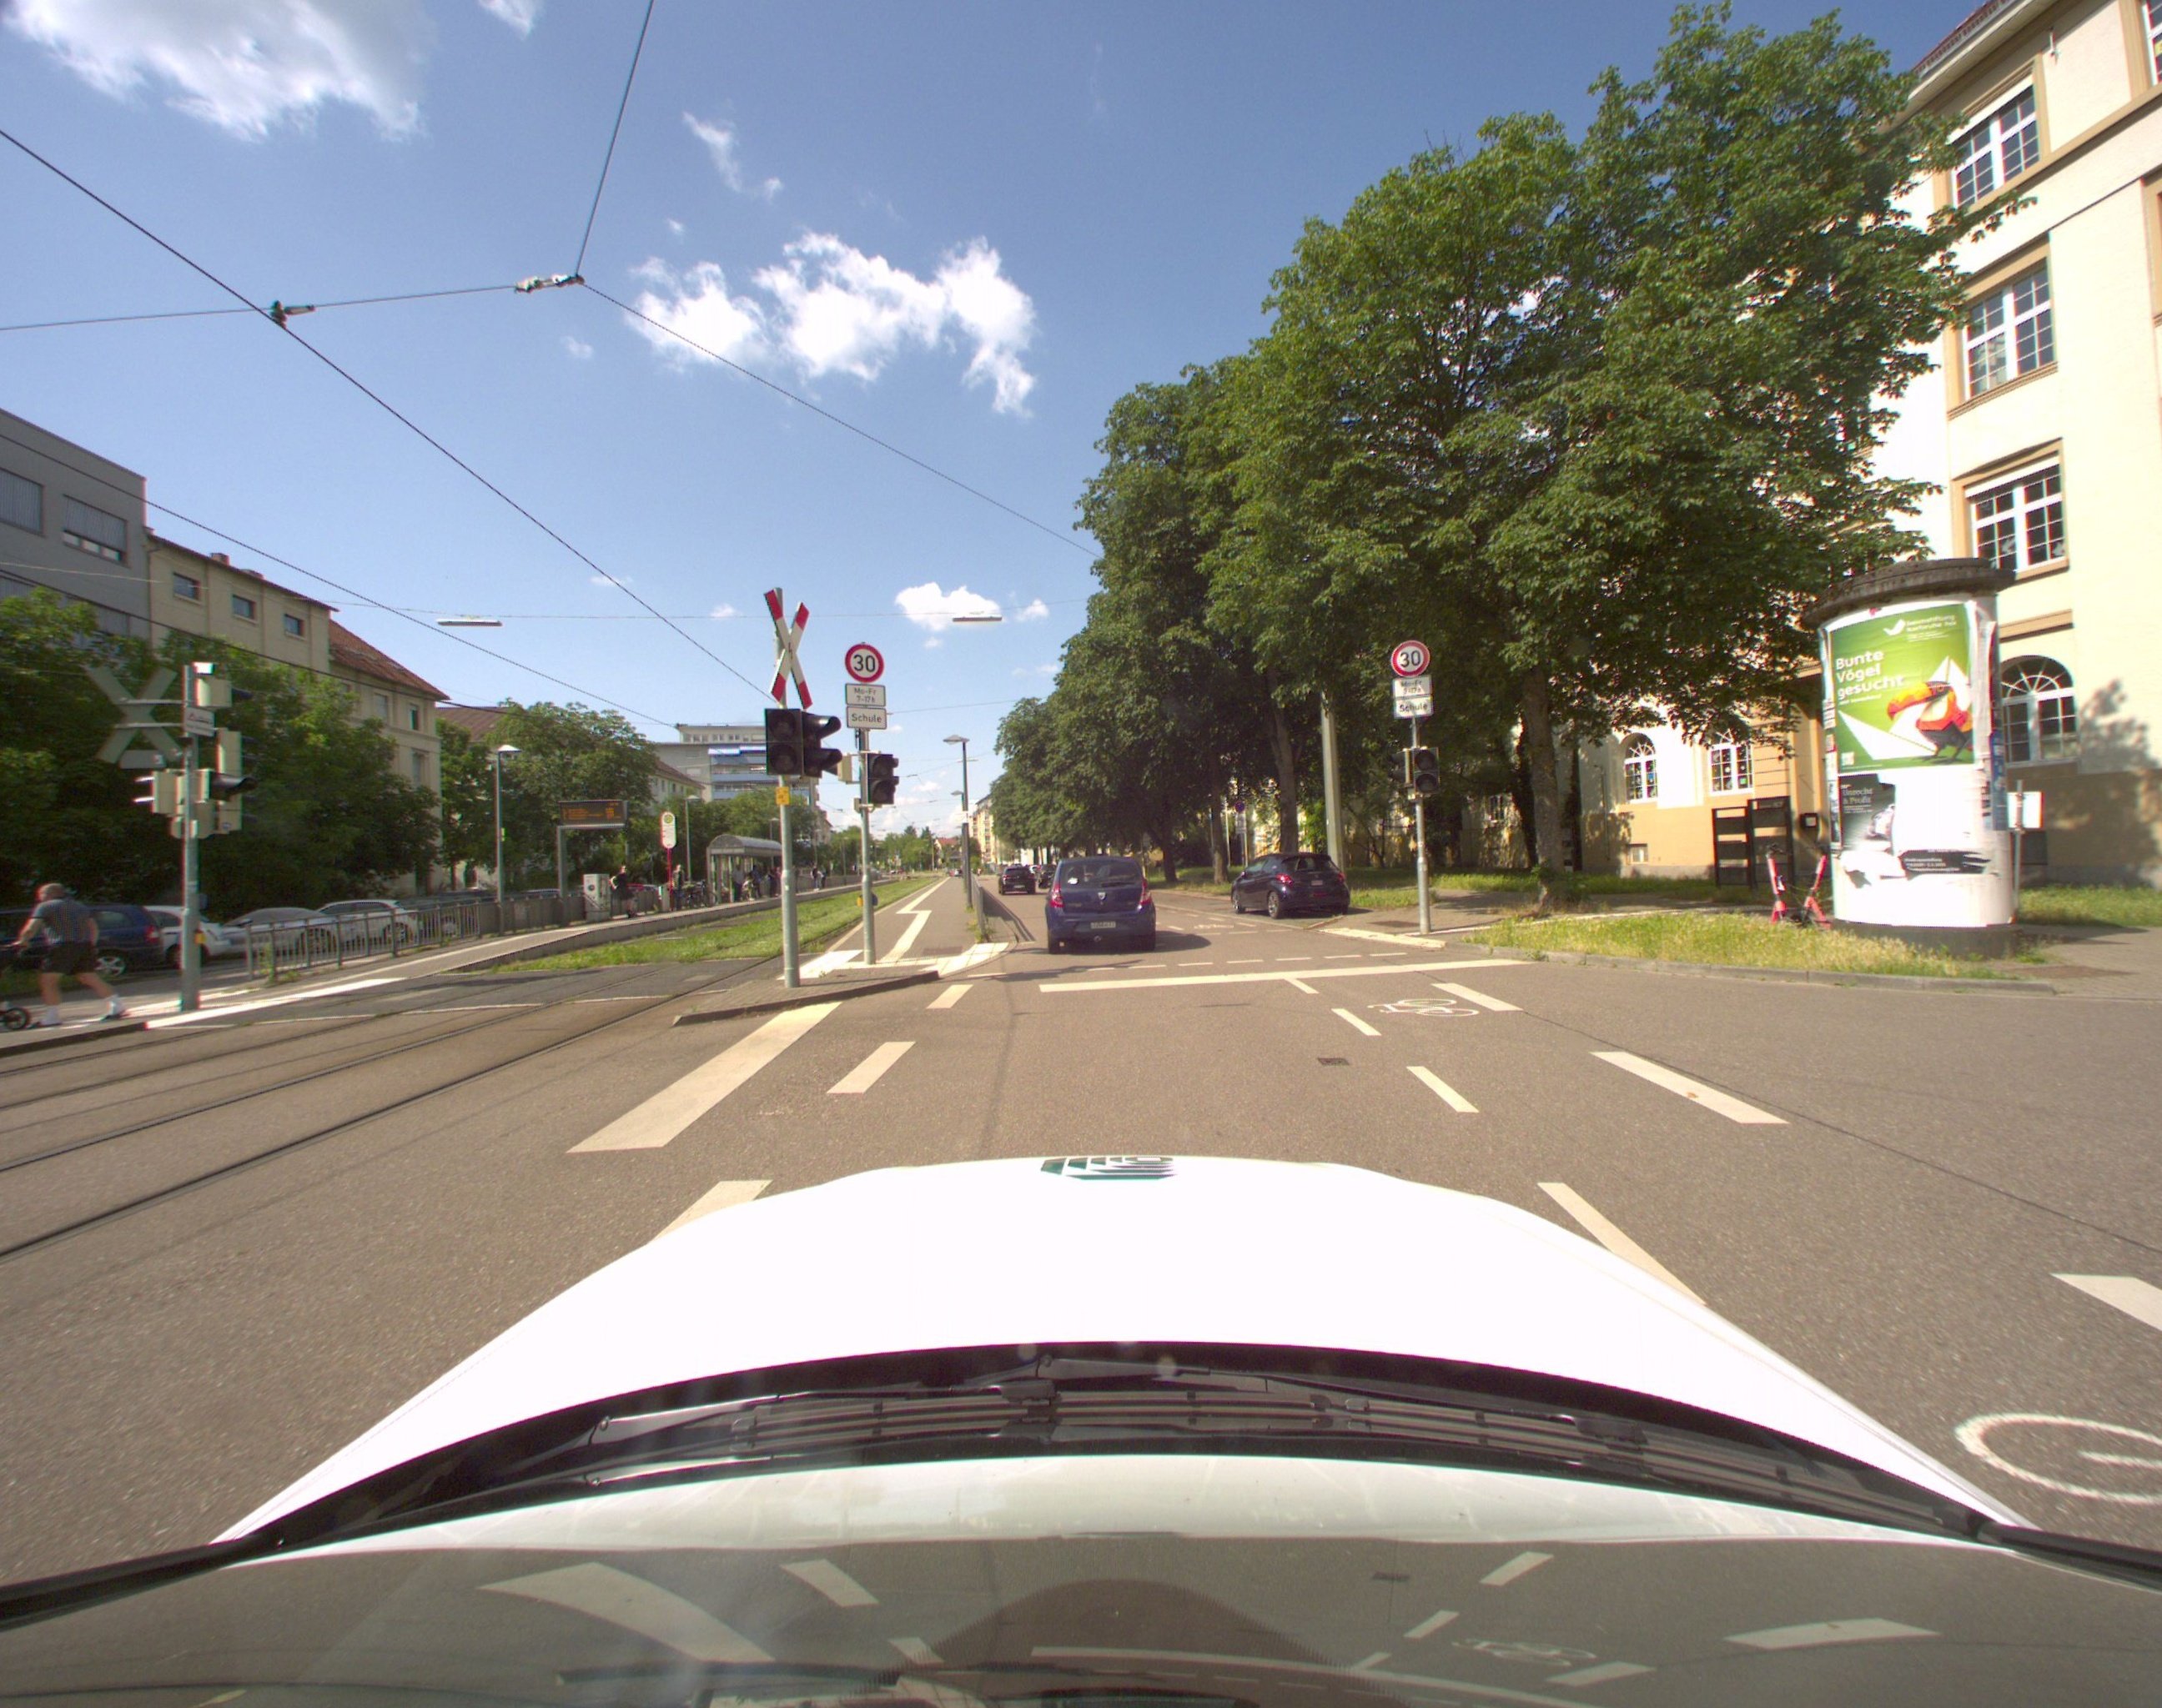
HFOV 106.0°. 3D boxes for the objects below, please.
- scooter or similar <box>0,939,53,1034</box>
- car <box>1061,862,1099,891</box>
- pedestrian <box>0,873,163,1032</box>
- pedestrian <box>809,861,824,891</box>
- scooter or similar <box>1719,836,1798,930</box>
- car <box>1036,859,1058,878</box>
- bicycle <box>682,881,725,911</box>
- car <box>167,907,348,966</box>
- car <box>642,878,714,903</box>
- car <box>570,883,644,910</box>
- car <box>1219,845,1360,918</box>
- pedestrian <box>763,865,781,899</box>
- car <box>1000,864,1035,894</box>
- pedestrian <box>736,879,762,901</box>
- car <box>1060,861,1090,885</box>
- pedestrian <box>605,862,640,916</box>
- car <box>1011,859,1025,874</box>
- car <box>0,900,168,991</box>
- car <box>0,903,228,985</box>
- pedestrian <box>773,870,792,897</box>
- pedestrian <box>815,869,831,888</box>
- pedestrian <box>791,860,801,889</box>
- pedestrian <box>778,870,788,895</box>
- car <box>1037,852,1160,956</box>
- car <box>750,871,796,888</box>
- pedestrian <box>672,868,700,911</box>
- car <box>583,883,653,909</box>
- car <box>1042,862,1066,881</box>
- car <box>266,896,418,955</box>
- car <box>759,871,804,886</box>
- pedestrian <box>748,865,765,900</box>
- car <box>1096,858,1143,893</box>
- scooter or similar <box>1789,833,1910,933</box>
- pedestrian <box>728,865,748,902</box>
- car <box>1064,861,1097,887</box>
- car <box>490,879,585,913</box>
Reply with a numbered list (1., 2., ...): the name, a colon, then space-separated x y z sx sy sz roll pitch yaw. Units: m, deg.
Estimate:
1. scooter or similar: -13.069 1.611 9.697 0.786 1.064 0.963 -5 0 40
2. car: -0.110 1.219 45.775 1.857 1.445 3.996 -4 0 -3
3. pedestrian: -12.389 1.165 10.052 0.870 1.775 1.001 -4 0 -8
4. pedestrian: -18.345 1.523 56.509 0.800 2.013 0.661 -3 -1 -6
5. scooter or similar: 9.028 0.365 10.882 0.303 1.189 1.167 -3 -1 15
6. car: -3.062 1.304 73.998 1.823 1.537 3.996 -3 0 -3
7. bicycle: -14.565 1.605 31.448 0.683 0.974 1.772 -5 0 2
8. car: -22.566 2.196 22.419 1.525 1.236 3.410 -3 -1 43
9. car: -27.538 2.492 55.752 1.694 1.367 4.025 -4 -1 41
10. car: -26.584 2.391 45.767 1.437 1.309 3.268 -3 -1 36
11. car: 4.767 0.609 19.213 1.765 1.433 3.892 -3 0 -9
12. pedestrian: -16.388 1.457 43.187 0.602 1.766 0.639 -3 -1 1
13. car: -3.195 1.237 41.412 1.696 1.368 3.510 -2 0 -4
14. pedestrian: -16.074 1.759 39.419 0.923 0.989 0.795 -4 -2 -6
15. car: -0.441 1.279 56.109 1.847 1.515 3.996 -3 0 -3
16. pedestrian: -14.902 1.133 26.460 0.705 1.726 0.672 -3 -1 34
17. car: -8.278 1.634 107.441 1.664 1.772 3.994 -3 0 -4
18. car: -22.015 1.923 16.813 1.704 1.640 4.158 -3 -1 43
19. car: -22.971 2.056 19.028 1.704 1.499 4.158 -3 -1 43
20. pedestrian: -16.080 1.586 43.848 0.648 1.426 0.566 -4 -1 29
21. pedestrian: -19.991 1.898 63.122 1.033 1.437 0.698 -4 0 -23
22. pedestrian: -17.411 1.249 49.697 0.489 1.712 0.461 -3 -1 -18
23. pedestrian: -18.221 1.728 49.752 0.489 1.452 0.461 -3 -1 -18
24. car: 0.208 0.750 13.945 1.763 1.462 3.773 -2 0 -2
25. car: -30.483 2.518 80.703 1.618 1.385 4.026 -3 -1 37
26. pedestrian: -15.270 1.361 31.510 0.661 1.569 0.685 -4 -1 0
27. car: -27.514 2.507 48.422 1.437 1.309 3.268 -3 -1 36
28. car: -2.301 1.458 68.496 1.857 1.445 3.996 -4 0 -3
29. car: -23.125 2.177 25.554 1.525 1.505 3.409 -4 -1 44
30. car: -31.531 2.573 85.849 4.022 1.447 1.707 -2 -1 -42
31. pedestrian: -16.745 1.455 42.050 0.592 1.736 0.556 -3 -1 -3
32. car: 1.826 1.011 39.773 1.857 1.445 3.996 -4 0 -3
33. scooter or similar: 9.862 0.372 10.488 1.013 1.231 0.440 -3 -1 29
34. pedestrian: -16.025 1.372 38.054 0.654 1.692 0.654 -3 -1 -8
35. car: -0.055 1.223 51.475 1.857 1.445 3.996 -4 0 -3
36. car: -24.839 1.906 37.318 1.437 1.309 3.268 -3 -1 34
